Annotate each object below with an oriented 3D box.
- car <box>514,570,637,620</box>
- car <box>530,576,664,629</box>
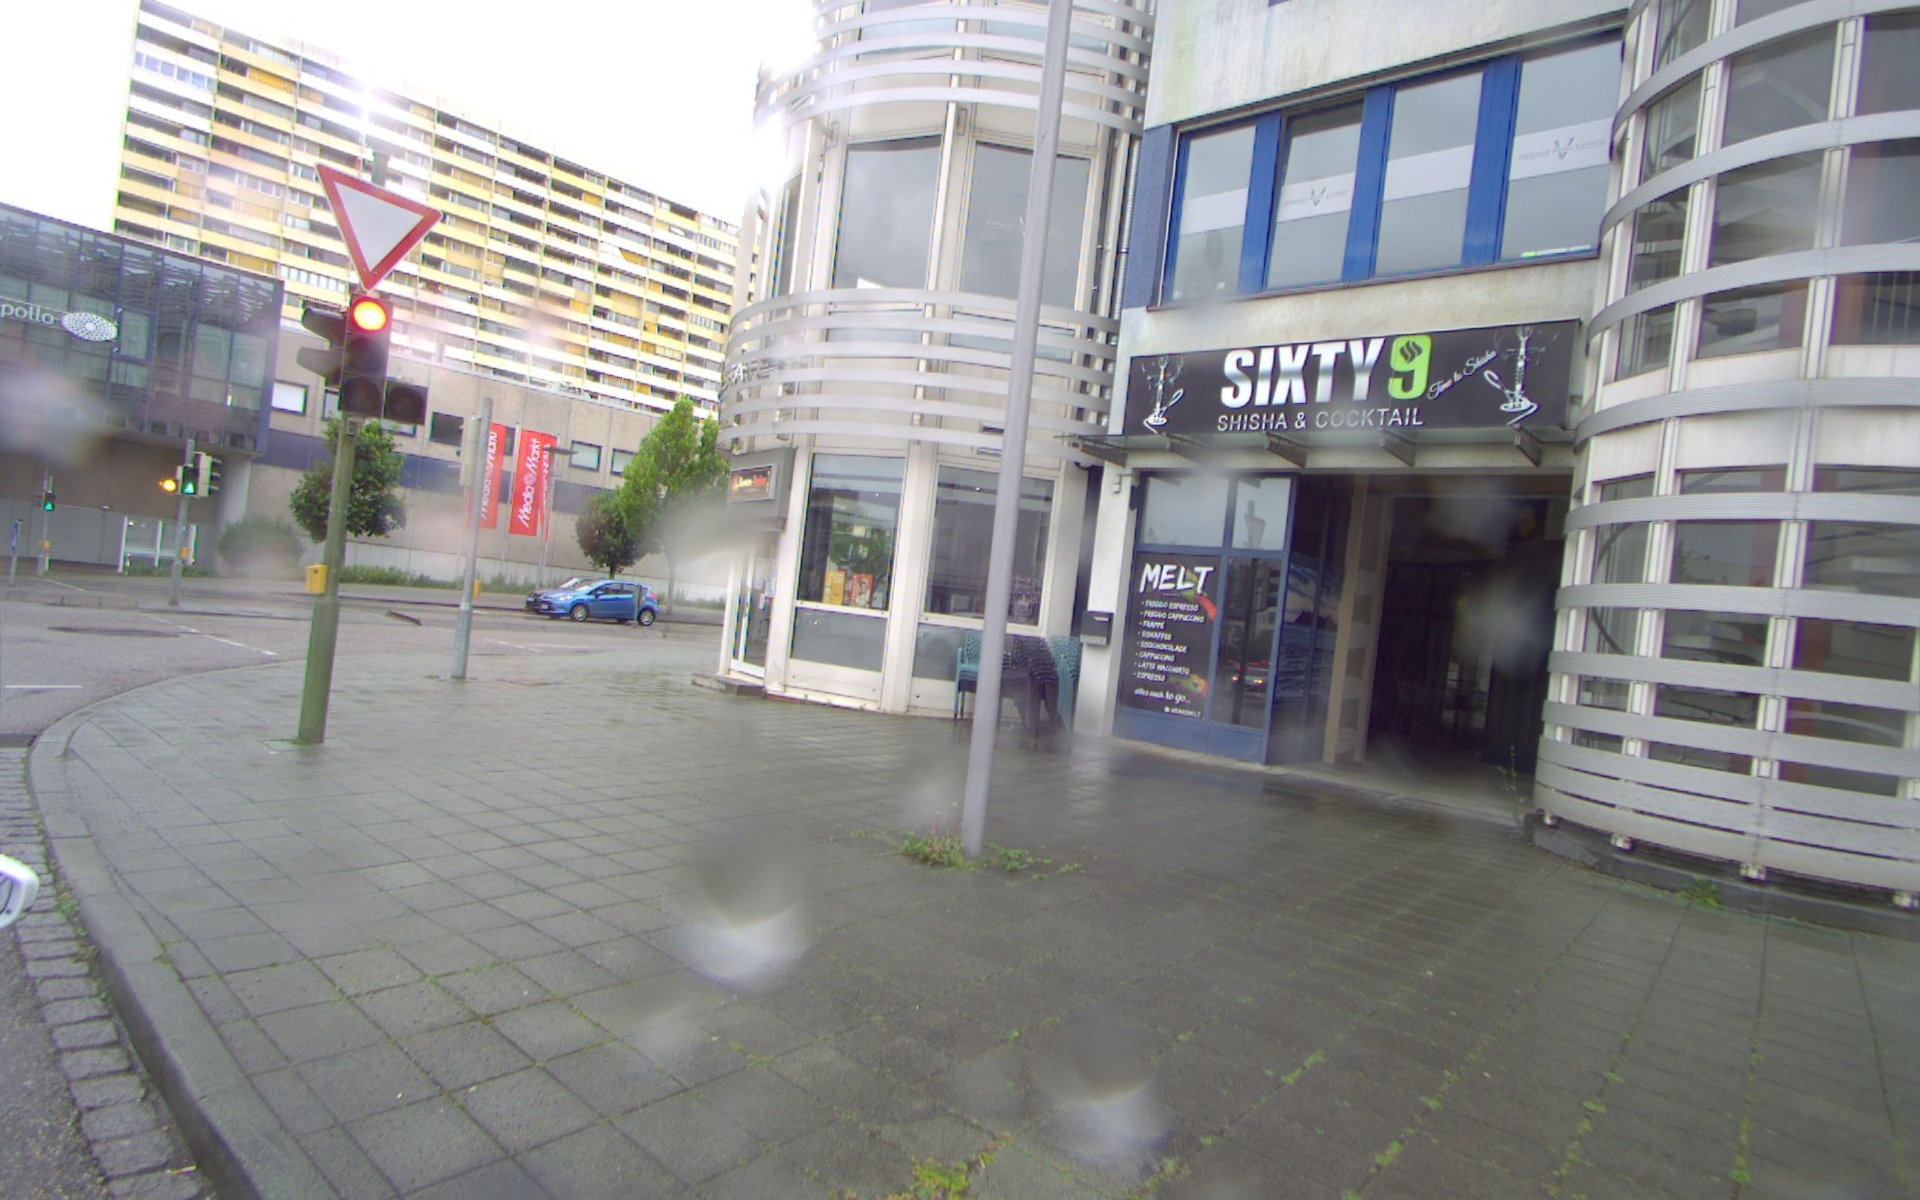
[{"bbox_3d":[-13.751,-0.159,36.079,1.720,1.412,3.677,5,0,41],"label":"car"},{"bbox_3d":[-12.028,0.095,33.481,1.655,1.415,3.837,5,0,40],"label":"car"}]
